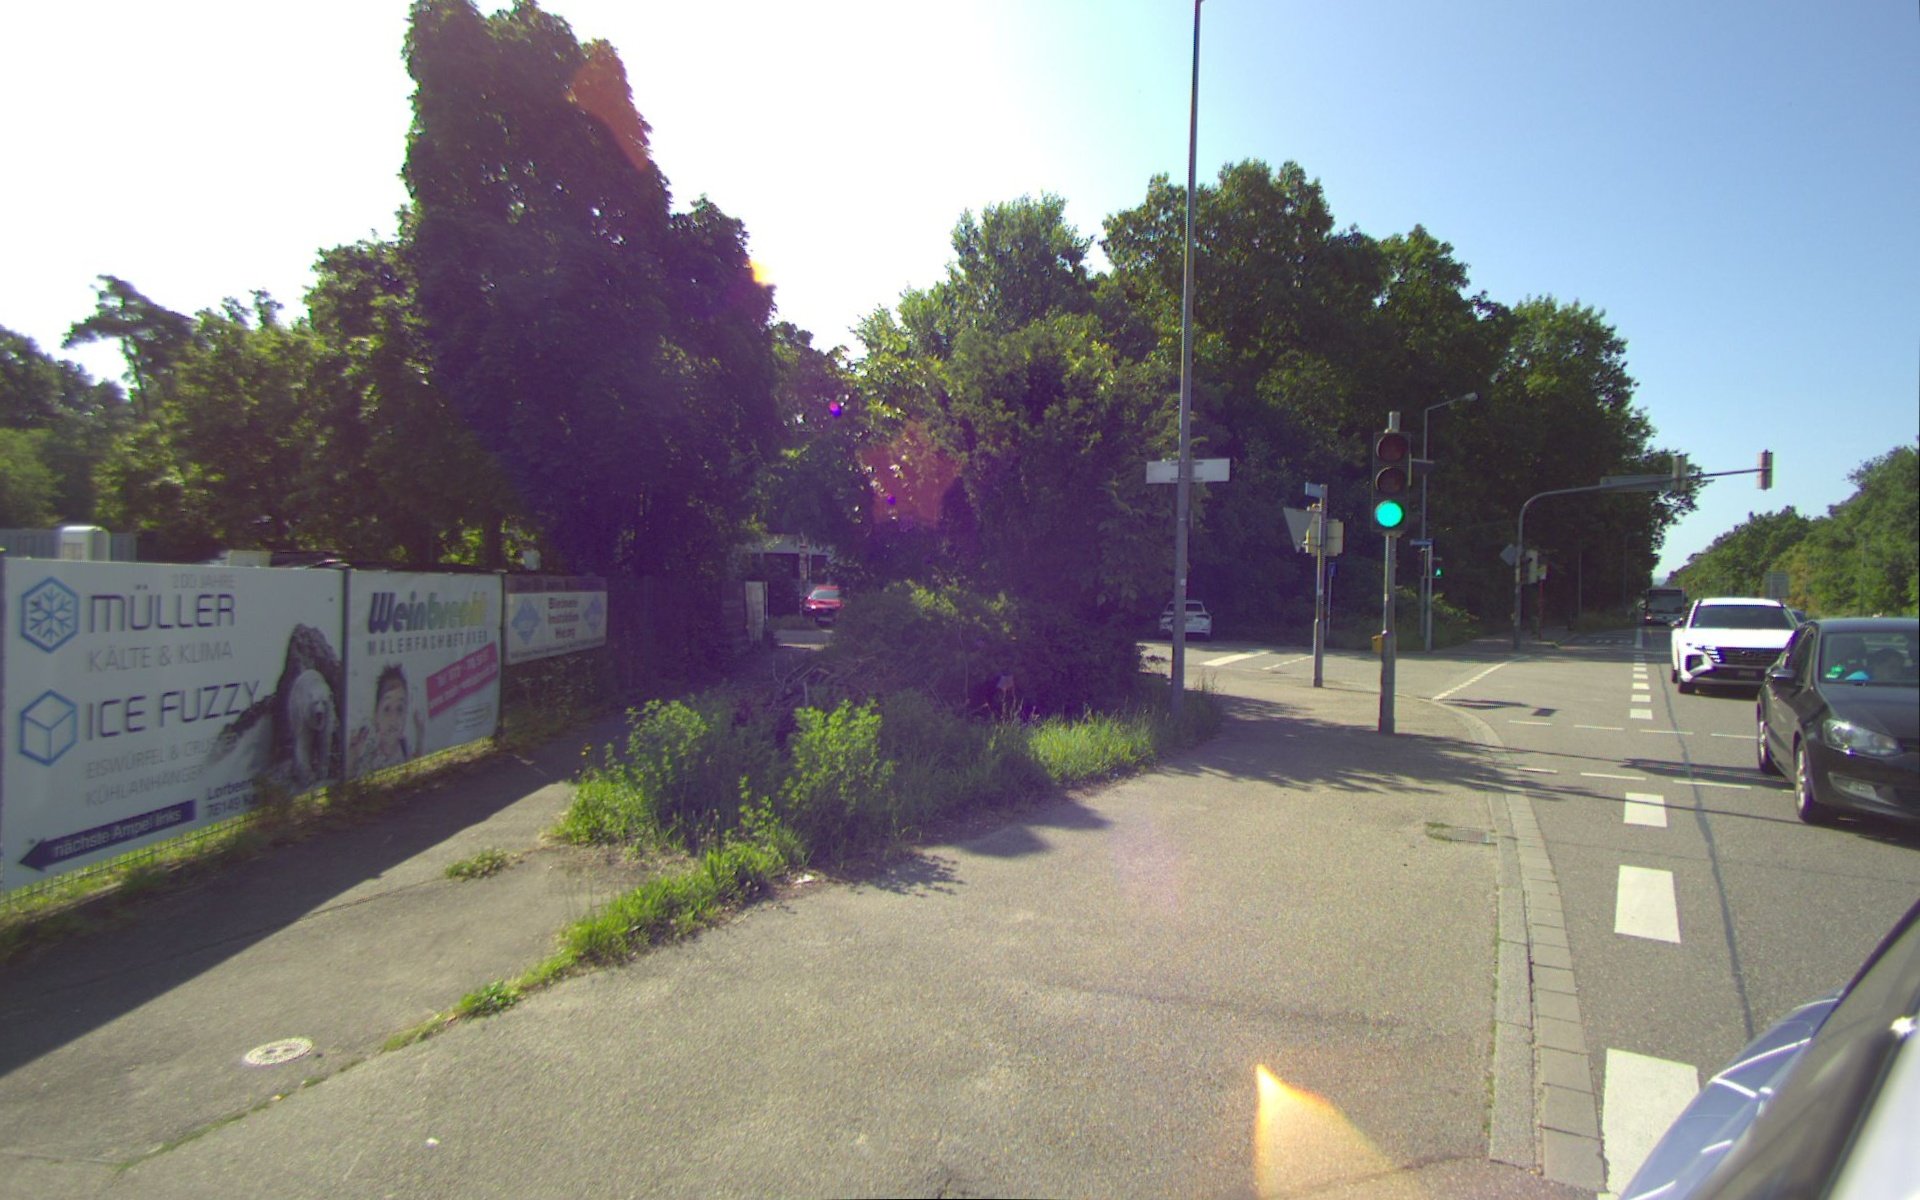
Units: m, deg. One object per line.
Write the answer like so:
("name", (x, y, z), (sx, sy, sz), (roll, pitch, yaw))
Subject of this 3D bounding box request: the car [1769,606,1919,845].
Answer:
("car", (7.259, 0.770, 7.597), (1.641, 1.449, 4.001), (-1, -1, 36))

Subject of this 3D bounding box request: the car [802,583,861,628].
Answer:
("car", (-4.580, 0.153, 36.558), (1.598, 1.482, 3.988), (2, 1, 0))

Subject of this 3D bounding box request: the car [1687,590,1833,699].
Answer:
("car", (13.985, 0.673, 17.664), (1.805, 1.669, 4.245), (0, 0, 40))

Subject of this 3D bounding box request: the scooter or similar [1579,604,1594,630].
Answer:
("scooter or similar", (32.815, 0.881, 53.012), (0.396, 1.323, 1.321), (1, 1, 20))

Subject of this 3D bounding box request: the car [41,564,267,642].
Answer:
("car", (-17.098, 0.022, 21.601), (1.674, 1.456, 3.465), (4, 3, 36))

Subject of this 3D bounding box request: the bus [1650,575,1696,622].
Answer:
("bus", (55.694, -0.174, 79.216), (2.765, 3.501, 7.698), (-1, 0, 34))

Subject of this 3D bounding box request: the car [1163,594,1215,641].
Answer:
("car", (8.002, 0.548, 35.138), (1.605, 1.482, 4.594), (2, 1, 15))

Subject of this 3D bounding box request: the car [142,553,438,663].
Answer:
("car", (-11.303, 0.099, 17.335), (1.671, 1.649, 3.894), (1, 1, 32))

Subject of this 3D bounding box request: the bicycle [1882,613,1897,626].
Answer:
("bicycle", (73.116, 1.543, 79.620), (0.602, 0.926, 2.110), (2, 1, 36))

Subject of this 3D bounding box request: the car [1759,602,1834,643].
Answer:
("car", (31.274, 0.813, 37.947), (1.778, 1.442, 4.367), (0, -1, 35))

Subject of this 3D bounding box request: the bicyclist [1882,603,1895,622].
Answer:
("bicyclist", (73.110, 0.991, 79.678), (0.609, 1.485, 0.932), (-1, 0, 37))

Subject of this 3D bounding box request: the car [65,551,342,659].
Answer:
("car", (-14.302, -0.023, 19.361), (1.672, 1.815, 3.895), (2, 4, 33))

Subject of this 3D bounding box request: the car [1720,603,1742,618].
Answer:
("car", (91.967, 1.227, 120.785), (1.786, 1.718, 4.336), (3, 2, 35))

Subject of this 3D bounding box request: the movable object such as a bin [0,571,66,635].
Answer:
("movable object such as a bin", (-19.779, 0.046, 21.262), (1.211, 1.306, 0.867), (1, 1, -3))

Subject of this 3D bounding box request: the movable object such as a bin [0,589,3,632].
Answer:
("movable object such as a bin", (-20.696, 0.228, 21.211), (0.484, 0.921, 0.867), (1, 1, -4))
